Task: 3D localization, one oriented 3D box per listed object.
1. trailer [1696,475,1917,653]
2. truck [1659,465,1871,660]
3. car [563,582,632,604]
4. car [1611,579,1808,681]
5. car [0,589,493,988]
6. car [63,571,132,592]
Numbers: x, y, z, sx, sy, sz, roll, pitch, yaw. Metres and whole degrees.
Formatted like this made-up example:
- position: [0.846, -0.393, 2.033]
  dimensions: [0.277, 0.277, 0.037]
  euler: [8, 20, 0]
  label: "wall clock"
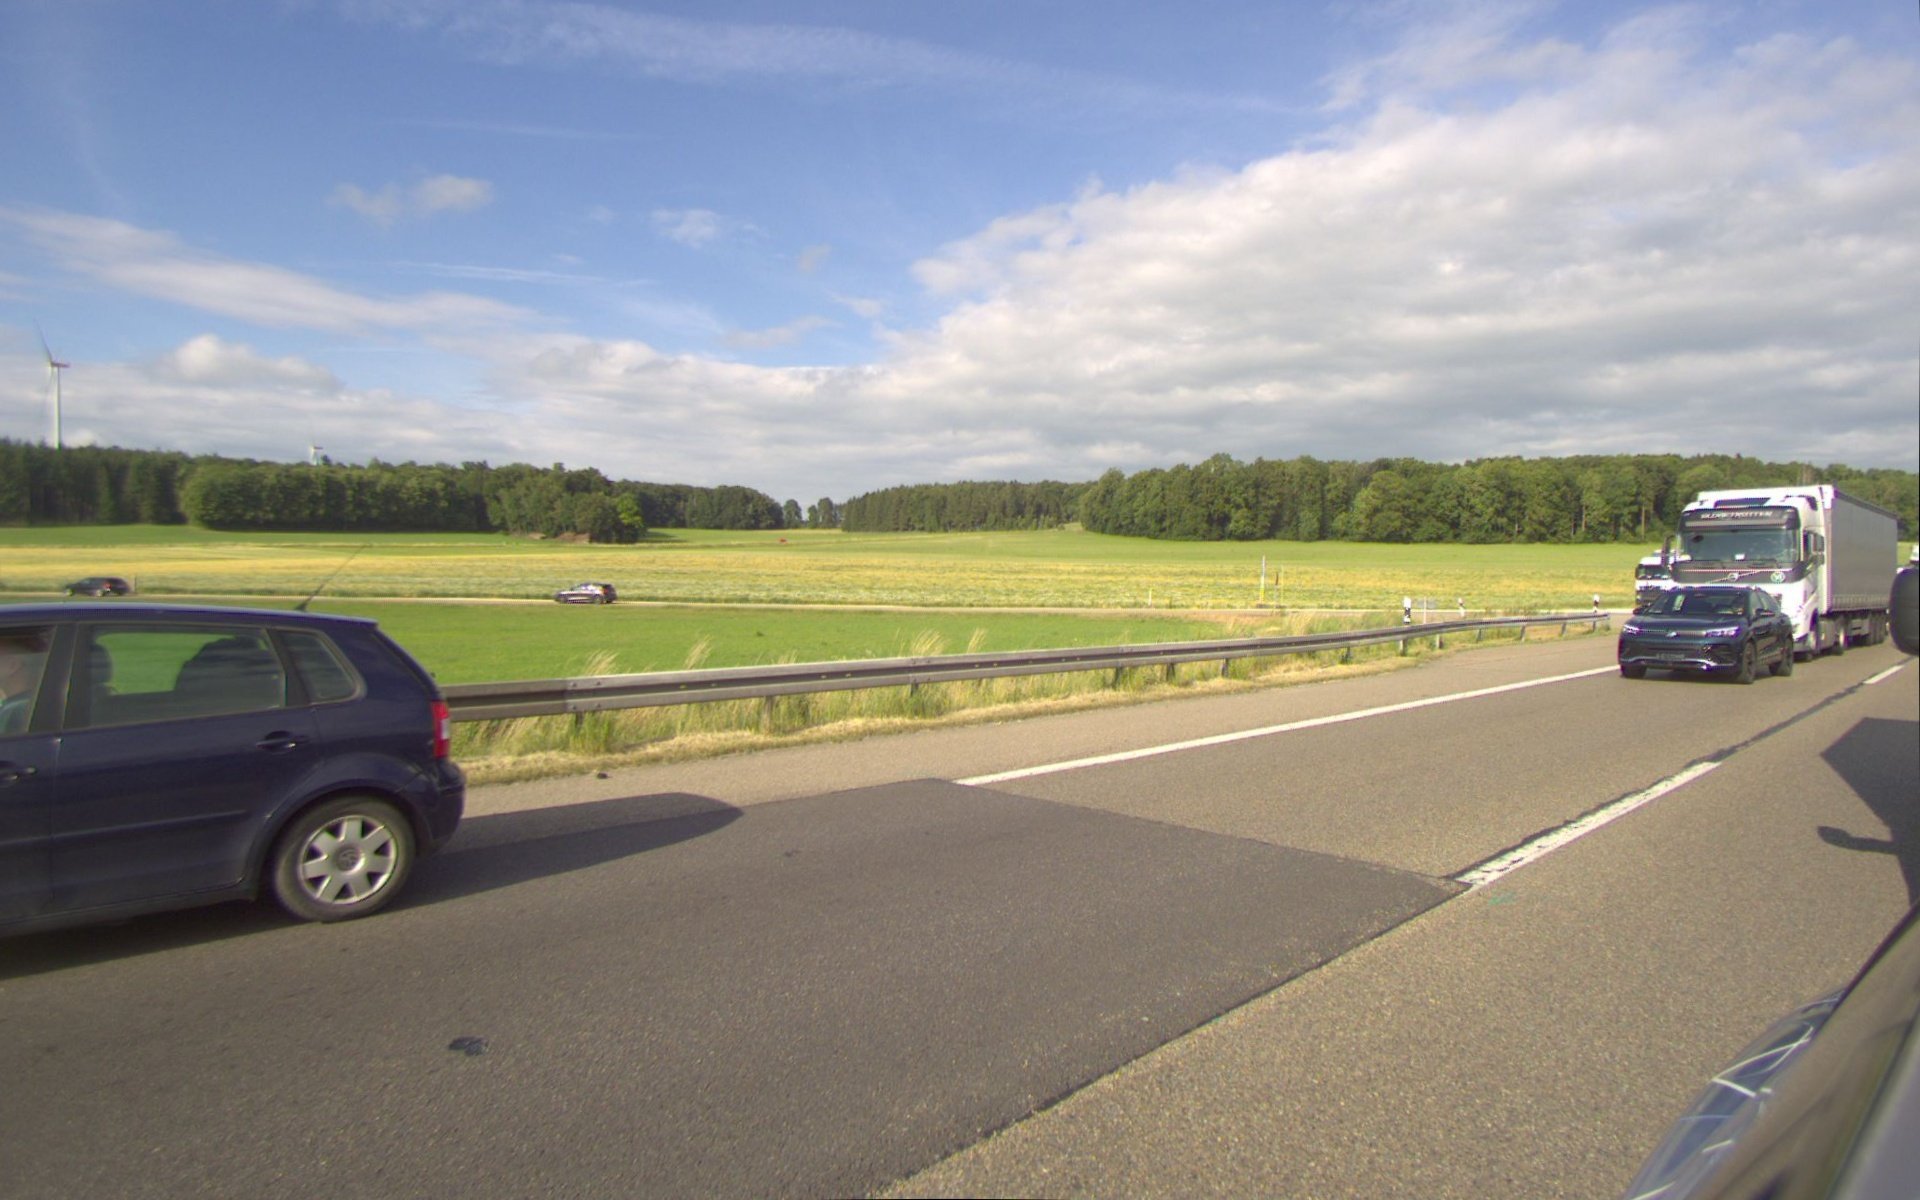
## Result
- position: [23.659, -0.880, 27.922]
  dimensions: [11.916, 4.032, 2.824]
  euler: [-1, 0, -41]
  label: "trailer"
- position: [19.318, -0.819, 24.146]
  dimensions: [6.387, 4.040, 2.840]
  euler: [-1, 0, -41]
  label: "truck"
- position: [-25.107, -0.486, 70.121]
  dimensions: [4.154, 1.505, 1.832]
  euler: [0, 0, 12]
  label: "car"
- position: [13.420, 0.448, 18.055]
  dimensions: [4.047, 1.616, 1.997]
  euler: [-1, 1, -41]
  label: "car"
- position: [-4.198, 0.696, 4.293]
  dimensions: [3.710, 1.464, 1.712]
  euler: [-1, 1, -42]
  label: "car"
- position: [-65.297, -1.393, 76.629]
  dimensions: [4.154, 1.505, 1.832]
  euler: [0, 0, 12]
  label: "car"
